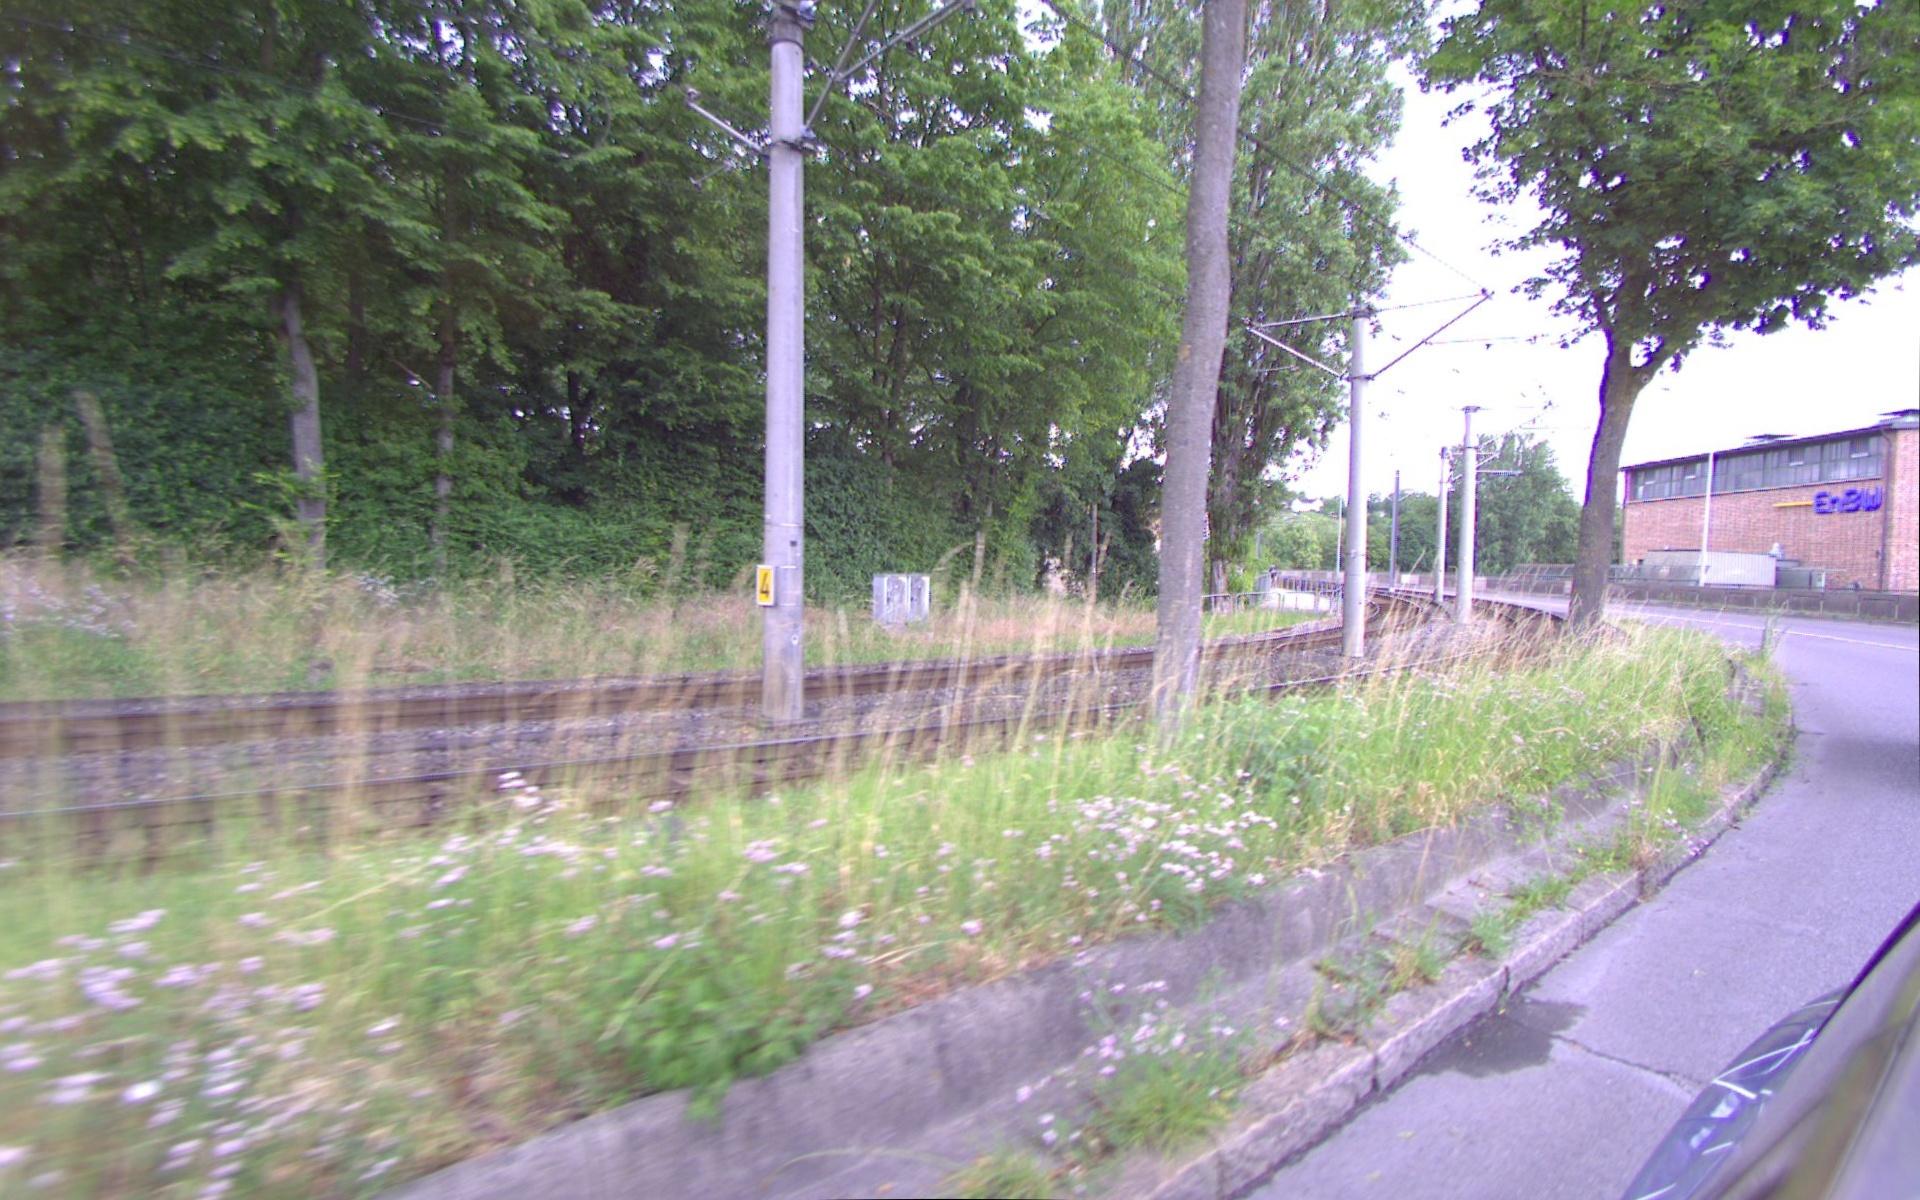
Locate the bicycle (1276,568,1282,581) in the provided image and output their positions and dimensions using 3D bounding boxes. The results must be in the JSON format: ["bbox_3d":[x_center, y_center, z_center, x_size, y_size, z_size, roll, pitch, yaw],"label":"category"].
[{"bbox_3d":[21.265,-1.703,67.371,0.343,0.804,1.539,2,2,18],"label":"bicycle"}]

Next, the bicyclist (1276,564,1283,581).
[{"bbox_3d":[21.260,-1.828,67.350,0.412,1.097,0.472,2,1,18],"label":"bicyclist"}]
